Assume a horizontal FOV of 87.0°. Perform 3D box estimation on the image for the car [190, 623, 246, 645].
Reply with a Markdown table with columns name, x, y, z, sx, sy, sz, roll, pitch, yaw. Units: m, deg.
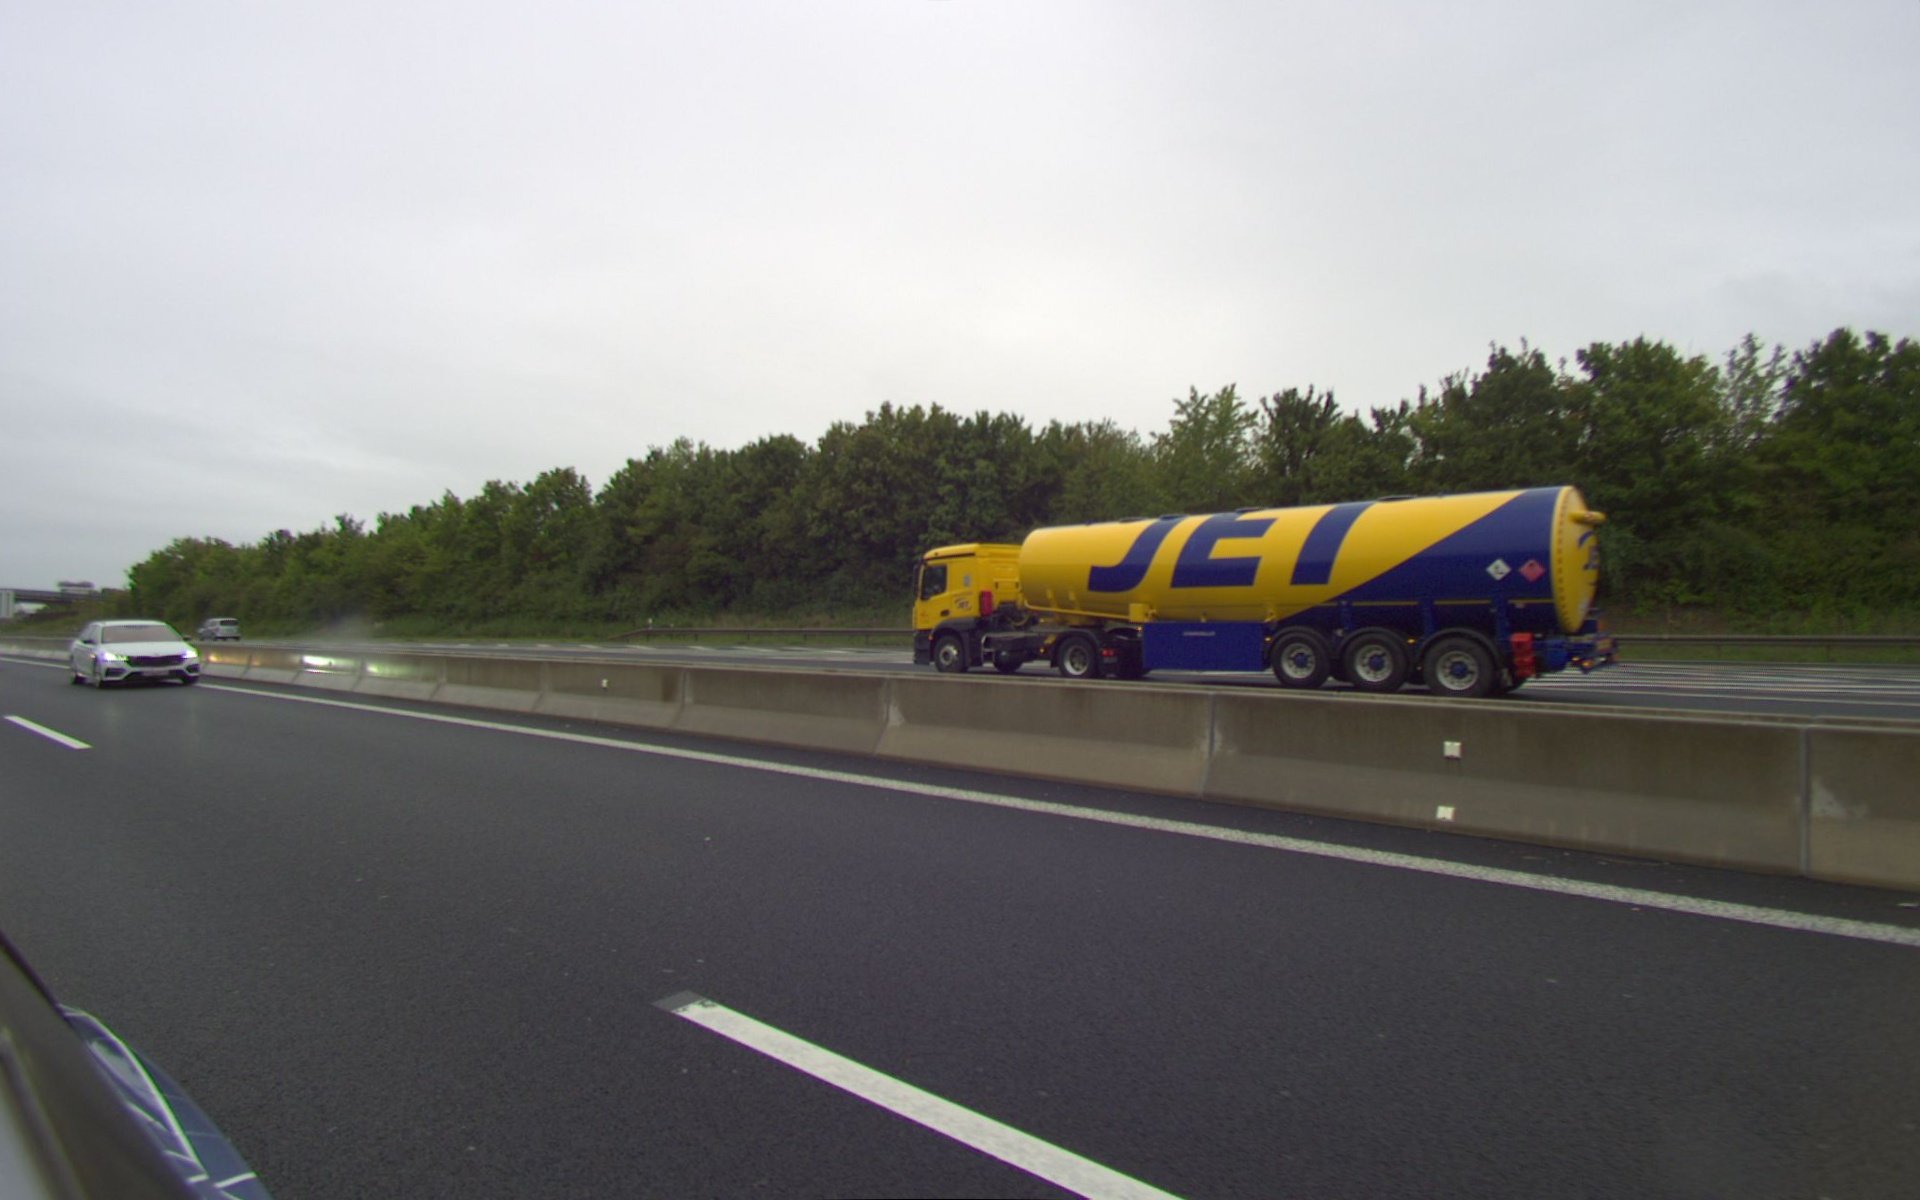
| name | x | y | z | sx | sy | sz | roll | pitch | yaw |
| --- | --- | --- | --- | --- | --- | --- | --- | --- | --- |
| car | -60.319 | 2.777 | 82.275 | 4.553 | 1.708 | 2.163 | -1 | -1 | 32 |

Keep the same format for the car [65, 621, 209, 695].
| name | x | y | z | sx | sy | sz | roll | pitch | yaw |
| --- | --- | --- | --- | --- | --- | --- | --- | --- | --- |
| car | -18.689 | 1.255 | 22.929 | 4.112 | 1.518 | 1.880 | -2 | -2 | 41 |

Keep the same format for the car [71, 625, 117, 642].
| name | x | y | z | sx | sy | sz | roll | pitch | yaw |
| --- | --- | --- | --- | --- | --- | --- | --- | --- | --- |
| car | -87.980 | 3.408 | 102.801 | 4.610 | 1.708 | 2.164 | -1 | -1 | 31 |

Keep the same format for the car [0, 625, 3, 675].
| name | x | y | z | sx | sy | sz | roll | pitch | yaw |
| --- | --- | --- | --- | --- | --- | --- | --- | --- | --- |
| car | -31.711 | 1.580 | 31.897 | 4.112 | 1.518 | 1.880 | -2 | -2 | 41 |

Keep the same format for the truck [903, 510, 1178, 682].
| name | x | y | z | sx | sy | sz | roll | pitch | yaw |
| --- | --- | --- | --- | --- | --- | --- | --- | --- | --- |
| truck | 1.707 | -0.045 | 23.189 | 5.847 | 3.424 | 2.731 | -1 | 0 | 44 |

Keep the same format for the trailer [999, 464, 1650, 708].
| name | x | y | z | sx | sy | sz | roll | pitch | yaw |
| --- | --- | --- | --- | --- | --- | --- | --- | --- | --- |
| trailer | 5.924 | -0.129 | 19.136 | 11.450 | 3.424 | 2.731 | -1 | 0 | 44 |
